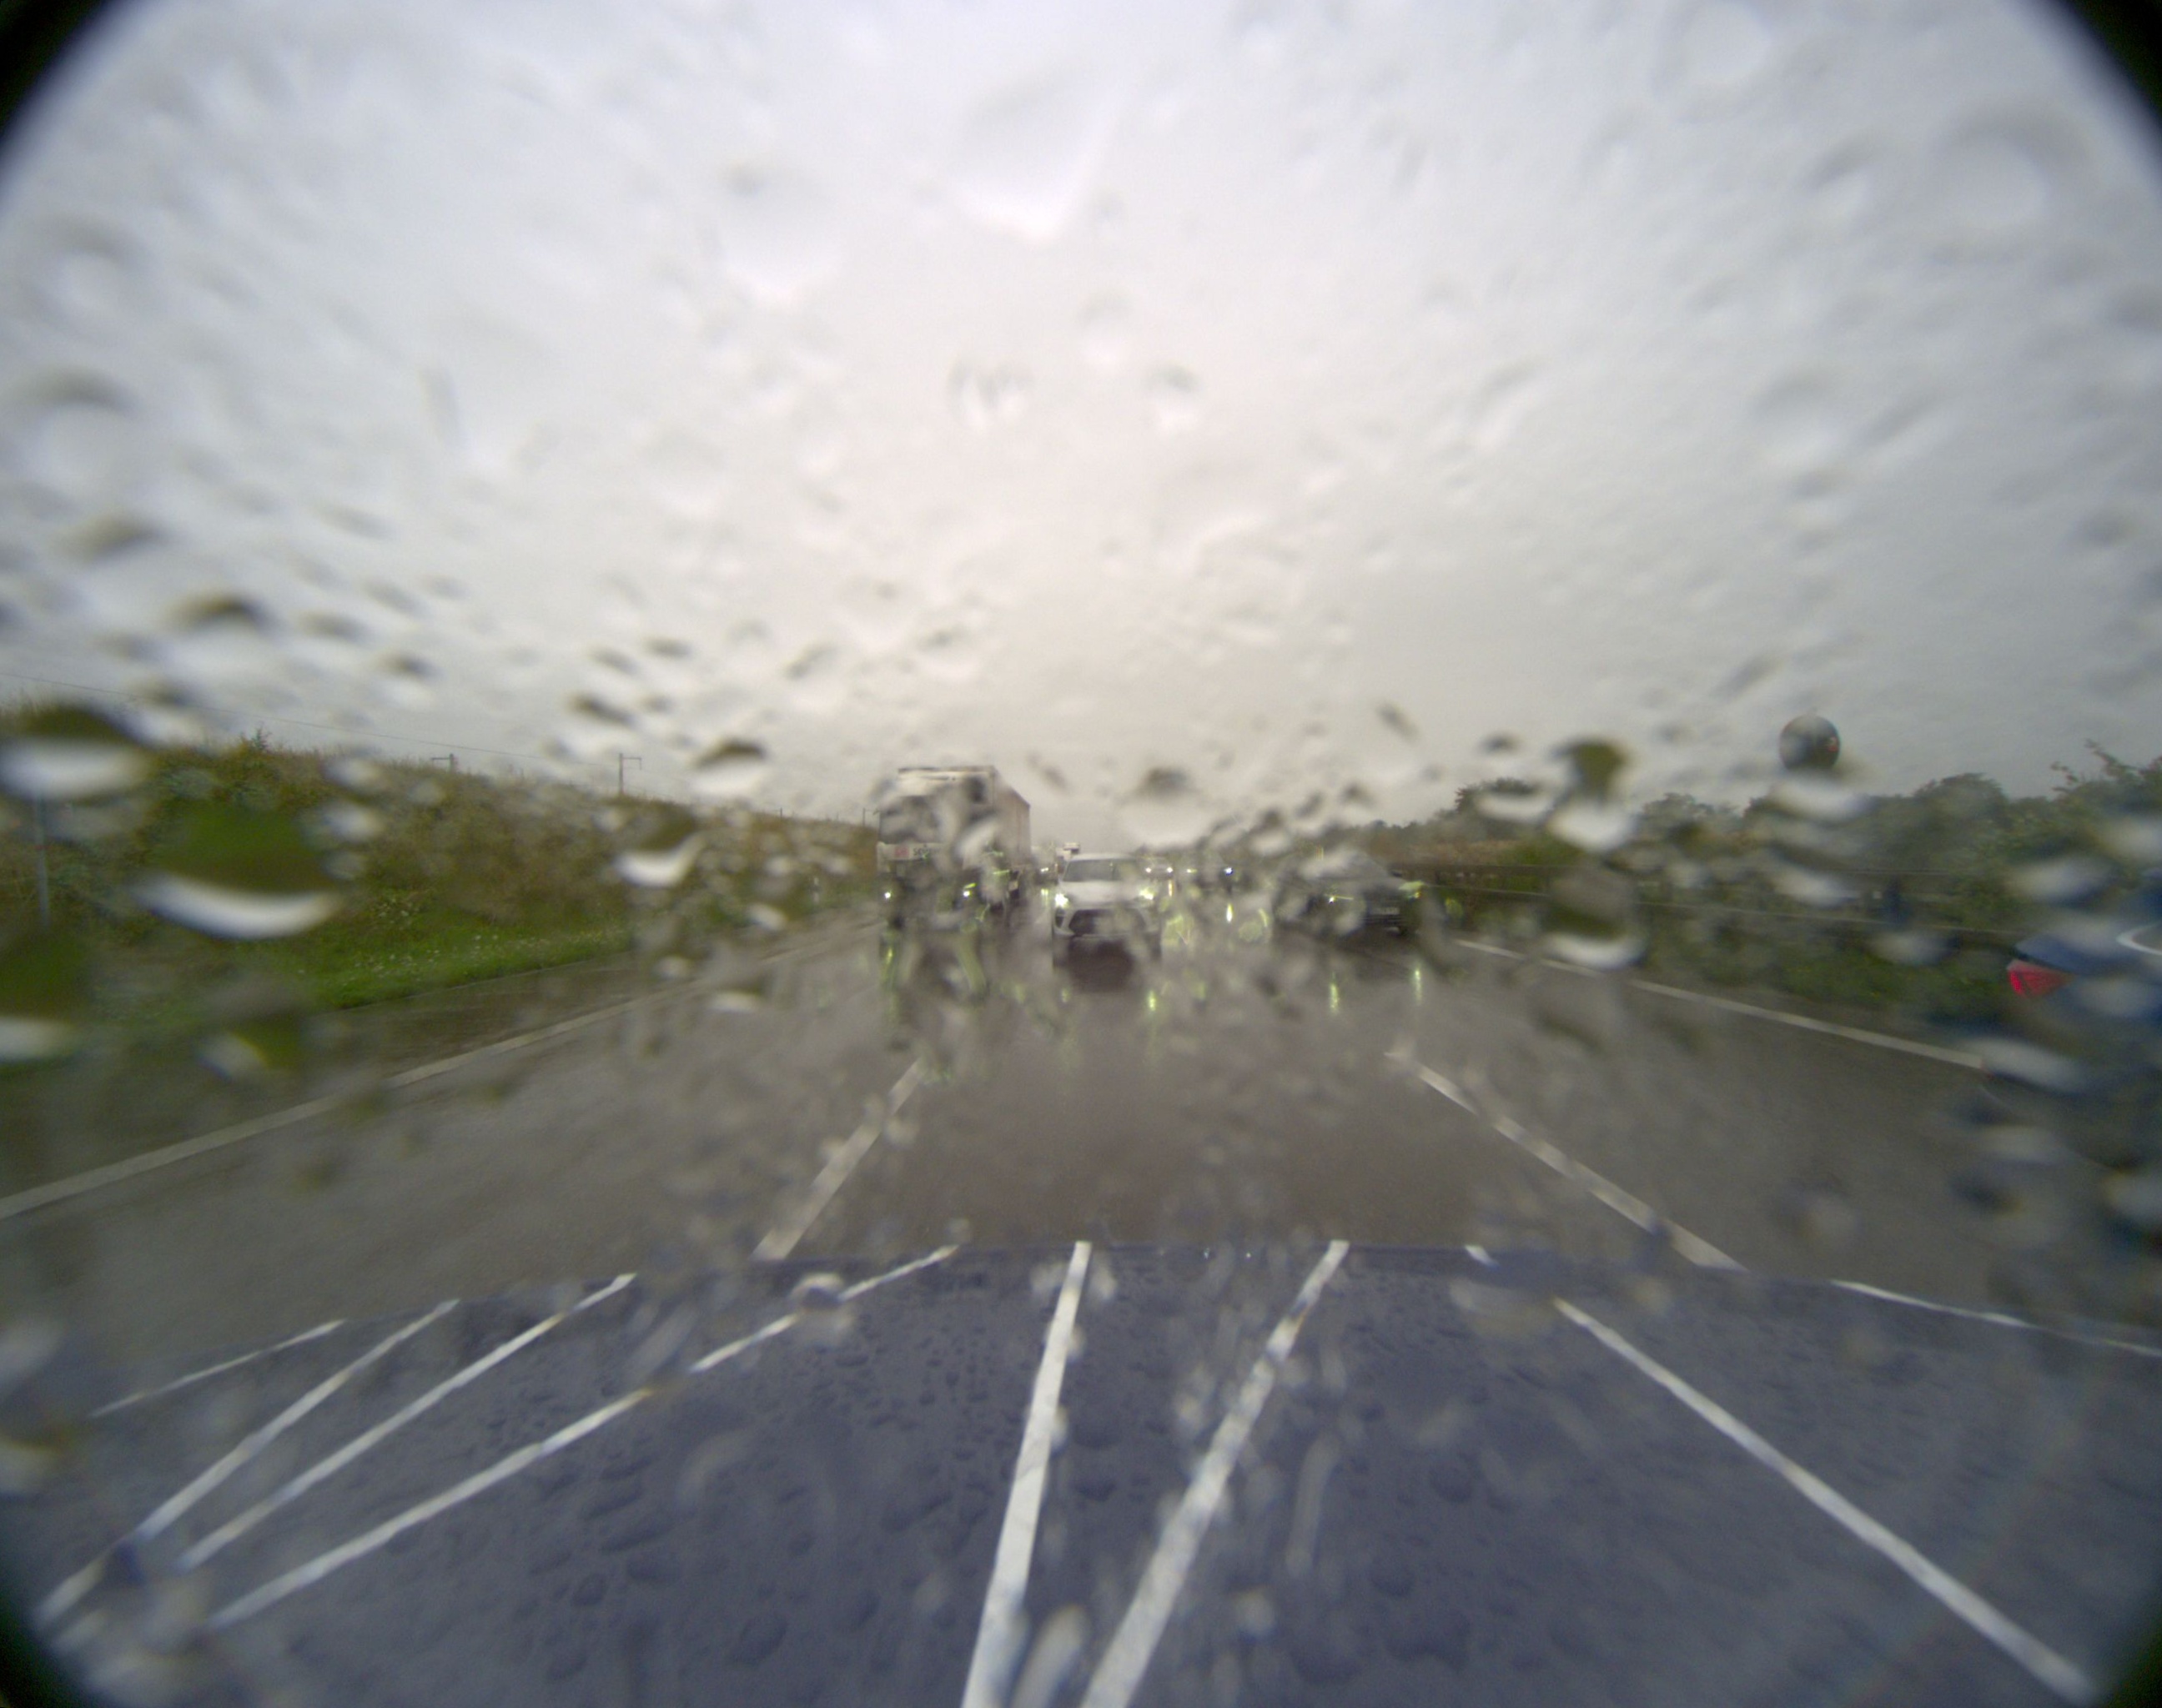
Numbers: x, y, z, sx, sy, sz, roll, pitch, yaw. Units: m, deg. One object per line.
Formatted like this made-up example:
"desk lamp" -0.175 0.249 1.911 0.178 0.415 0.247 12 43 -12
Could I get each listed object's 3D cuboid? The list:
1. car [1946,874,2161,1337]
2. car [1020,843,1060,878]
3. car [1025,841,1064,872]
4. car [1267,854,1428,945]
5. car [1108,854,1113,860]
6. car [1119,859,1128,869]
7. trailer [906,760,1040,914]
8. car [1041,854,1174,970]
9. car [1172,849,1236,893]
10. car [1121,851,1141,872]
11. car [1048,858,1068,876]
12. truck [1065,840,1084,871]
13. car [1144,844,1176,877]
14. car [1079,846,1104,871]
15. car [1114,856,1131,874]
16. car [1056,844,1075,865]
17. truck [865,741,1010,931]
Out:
"car" 4.371 0.820 0.808 1.790 1.467 4.512 -2 0 1
"car" -2.494 0.374 47.039 1.946 2.002 4.446 -2 1 3
"car" -2.525 0.151 53.653 2.260 2.002 4.269 -2 1 4
"car" 4.924 0.751 14.707 1.613 1.428 4.370 -2 0 1
"car" 8.026 0.850 209.009 1.279 1.567 2.848 -2 0 0
"car" 7.222 1.705 128.523 1.458 1.540 2.804 0 2 1
"trailer" -3.415 -0.551 28.392 2.633 4.224 14.174 -2 1 1
"car" 0.407 0.850 13.095 1.893 1.578 3.999 -2 1 1
"car" 4.908 0.645 30.832 1.889 1.622 4.269 -2 0 0
"car" 4.919 0.689 74.970 1.737 2.002 4.223 -2 0 1
"car" -2.435 1.350 81.233 1.998 1.805 4.000 -2 0 1
"truck" -0.980 0.205 119.247 2.628 4.635 4.290 -2 0 1
"car" 5.127 0.400 49.913 1.888 2.002 4.270 -2 0 4
"car" 0.905 0.399 64.638 1.998 2.002 4.000 -2 0 2
"car" 4.890 1.234 89.197 1.737 2.002 4.223 -2 0 1
"car" -1.750 0.053 87.560 1.998 2.231 4.000 -2 0 1
"truck" -3.499 -0.426 19.801 2.633 4.229 5.042 -2 1 0
